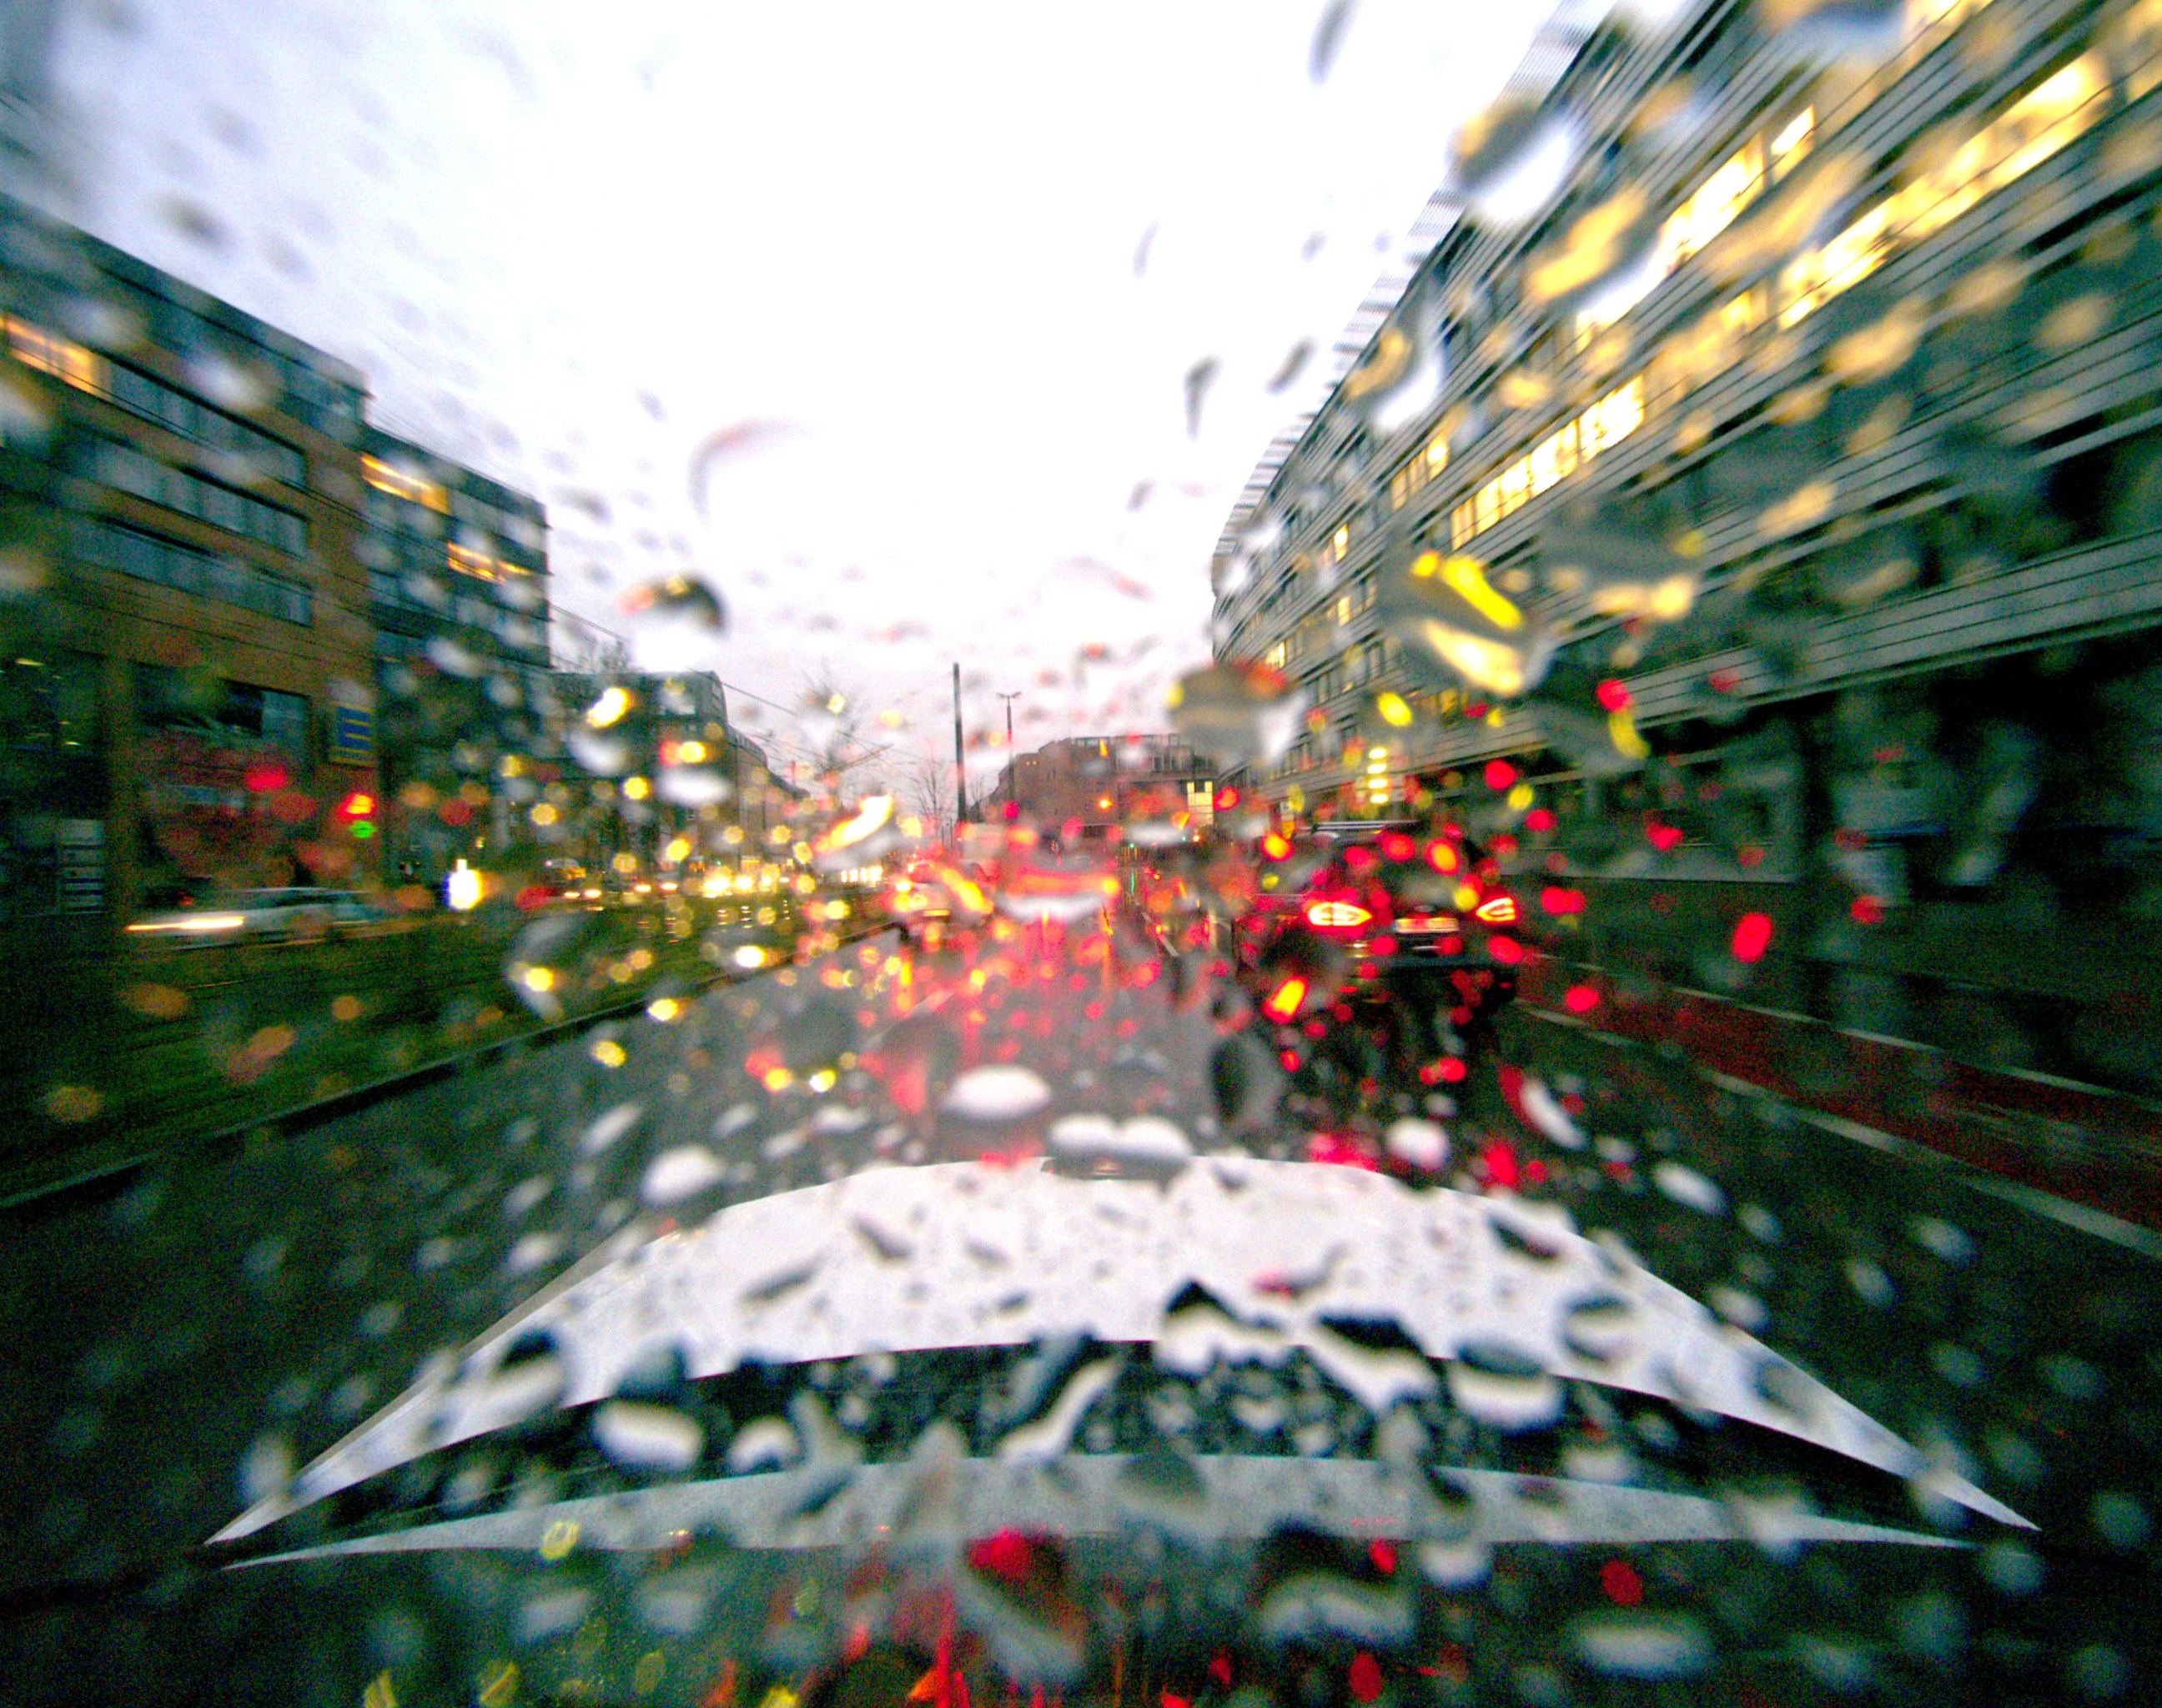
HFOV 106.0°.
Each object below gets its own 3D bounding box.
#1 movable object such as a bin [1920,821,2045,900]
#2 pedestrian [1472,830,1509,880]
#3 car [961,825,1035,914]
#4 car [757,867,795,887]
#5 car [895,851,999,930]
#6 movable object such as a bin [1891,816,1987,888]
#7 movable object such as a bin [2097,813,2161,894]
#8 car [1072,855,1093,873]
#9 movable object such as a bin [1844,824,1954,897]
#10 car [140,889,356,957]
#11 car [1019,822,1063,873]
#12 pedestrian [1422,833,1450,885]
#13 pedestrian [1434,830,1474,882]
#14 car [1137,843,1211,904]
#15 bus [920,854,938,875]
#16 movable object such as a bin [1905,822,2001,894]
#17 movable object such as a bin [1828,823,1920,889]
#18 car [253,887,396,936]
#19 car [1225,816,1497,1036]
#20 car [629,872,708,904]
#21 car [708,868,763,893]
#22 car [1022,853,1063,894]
[{"bbox_3d":[15.953,0.117,14.442,0.844,1.294,1.165,-4,0,-9],"label":"movable object such as a bin"},{"bbox_3d":[13.638,0.039,27.117,0.723,1.625,0.902,-2,-1,1],"label":"pedestrian"},{"bbox_3d":[-2.507,0.449,26.024,1.989,2.427,5.966,-2,0,-3],"label":"car"},{"bbox_3d":[-24.670,1.840,66.033,1.627,1.449,3.621,-2,0,0],"label":"car"},{"bbox_3d":[-2.820,0.711,17.883,1.634,1.496,3.684,-2,0,-1],"label":"car"},{"bbox_3d":[17.630,-0.038,16.765,0.729,1.382,1.076,-4,0,-9],"label":"movable object such as a bin"},{"bbox_3d":[18.060,-0.021,13.673,0.729,1.305,0.960,-4,0,-10],"label":"movable object such as a bin"},{"bbox_3d":[0.153,0.807,65.965,1.506,1.305,3.042,-2,0,2],"label":"car"},{"bbox_3d":[15.707,0.125,15.674,0.844,1.294,1.165,-4,0,-9],"label":"movable object such as a bin"},{"bbox_3d":[-20.474,1.635,20.257,1.500,1.373,3.655,-2,-1,2],"label":"car"},{"bbox_3d":[-2.335,-0.342,48.957,2.349,2.827,6.354,-2,0,-2],"label":"car"},{"bbox_3d":[11.826,0.170,27.152,0.529,1.683,0.745,-2,-1,1],"label":"pedestrian"},{"bbox_3d":[12.530,0.066,27.401,0.790,1.686,1.069,-2,-1,1],"label":"pedestrian"},{"bbox_3d":[3.005,0.595,27.205,1.838,1.806,4.485,-2,0,-1],"label":"car"},{"bbox_3d":[-26.272,1.788,140.678,2.826,3.372,7.966,-2,0,-12],"label":"bus"},{"bbox_3d":[16.761,0.077,15.669,0.729,1.305,0.960,-4,0,-10],"label":"movable object such as a bin"},{"bbox_3d":[16.662,0.046,17.135,0.865,1.294,1.009,-4,0,-10],"label":"movable object such as a bin"},{"bbox_3d":[-26.070,1.940,28.238,1.500,1.402,3.551,-2,0,2],"label":"car"},{"bbox_3d":[2.637,0.599,8.651,1.667,1.779,4.003,-1,0,3],"label":"car"},{"bbox_3d":[-20.806,1.678,41.279,1.723,1.393,4.200,-2,0,1],"label":"car"},{"bbox_3d":[-22.732,1.711,53.726,1.990,1.449,4.308,-2,0,-4],"label":"car"},{"bbox_3d":[-1.557,0.785,32.911,1.514,1.520,3.466,-2,-1,-3],"label":"car"}]
